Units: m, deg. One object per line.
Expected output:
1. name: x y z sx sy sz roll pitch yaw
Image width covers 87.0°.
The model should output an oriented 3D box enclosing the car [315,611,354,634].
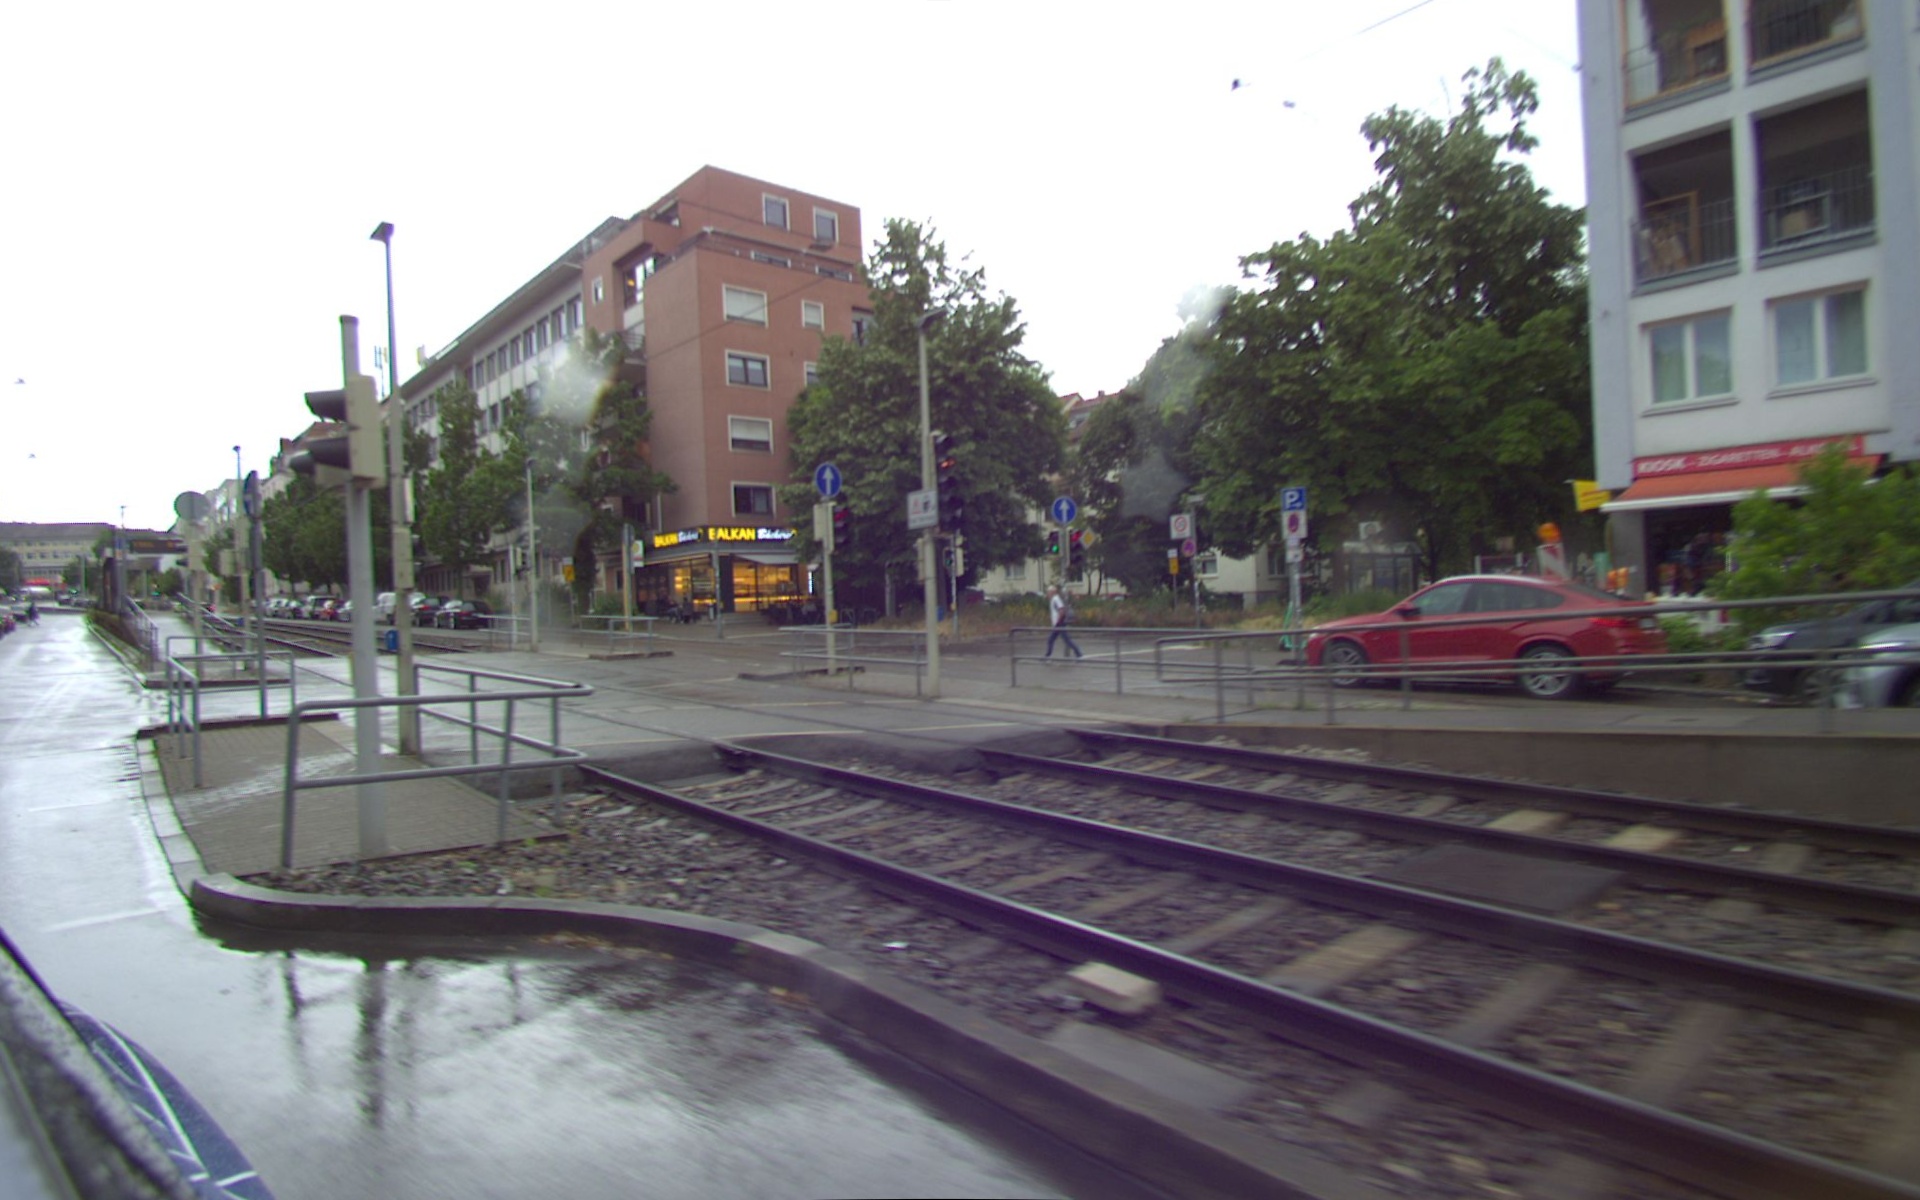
1. car: -44.143 1.569 71.439 1.619 1.550 3.808 -2 0 -43

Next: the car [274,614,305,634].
1. car: -55.347 1.999 83.484 1.618 1.549 4.028 -2 0 -41

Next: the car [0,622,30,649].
1. car: -55.116 2.037 58.634 1.695 1.473 3.450 -2 0 -41

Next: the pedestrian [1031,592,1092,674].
1. pedestrian: 2.216 0.718 22.088 0.985 1.710 0.811 -2 1 40

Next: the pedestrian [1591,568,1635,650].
1. pedestrian: 13.369 0.174 20.718 0.607 1.644 0.576 -2 1 22

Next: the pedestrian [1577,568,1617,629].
1. pedestrian: 15.224 -0.040 24.176 0.553 1.415 0.651 -3 1 -43

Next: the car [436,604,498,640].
1. car: -24.216 1.068 49.635 1.618 1.636 4.377 -2 0 -41

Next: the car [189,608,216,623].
1. car: -80.572 1.660 107.631 1.672 1.473 4.533 -2 0 -44

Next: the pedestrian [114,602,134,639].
1. pedestrian: -35.693 0.884 43.214 0.576 1.569 0.701 -1 0 -44

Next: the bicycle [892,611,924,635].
1. bicycle: -2.048 0.901 39.893 0.335 0.917 1.649 -1 0 -39

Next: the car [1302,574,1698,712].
1. car: 7.357 0.558 14.222 1.704 1.624 4.559 -1 -1 -40

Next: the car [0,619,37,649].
1. car: -50.442 1.794 54.026 1.625 1.473 3.419 -2 0 -41

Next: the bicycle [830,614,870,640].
1. bicycle: -4.163 1.005 38.103 0.474 0.966 1.876 -1 0 -42

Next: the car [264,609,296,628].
1. car: -59.352 1.621 88.346 1.638 1.596 4.342 -2 0 -43

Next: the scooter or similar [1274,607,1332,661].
1. scooter or similar: 7.859 0.759 23.200 0.384 1.200 1.214 -1 0 -40

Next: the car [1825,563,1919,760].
1. car: 9.693 0.438 7.298 1.785 1.590 5.028 -1 -1 -41

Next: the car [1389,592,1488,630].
1. car: 18.619 0.416 39.344 3.937 1.384 2.003 -1 0 -40

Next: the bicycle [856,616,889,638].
1. bicycle: -3.367 1.015 38.676 0.335 0.822 1.649 -1 0 -42

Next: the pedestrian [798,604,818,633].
1. pedestrian: -6.336 0.764 42.256 0.603 1.187 0.674 -2 0 16

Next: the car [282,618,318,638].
1. car: -51.839 2.180 79.464 1.619 1.451 4.735 -2 0 -43

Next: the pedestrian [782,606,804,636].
1. pedestrian: -6.745 0.856 40.923 0.667 1.187 0.609 -1 -1 -36

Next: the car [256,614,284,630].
1. car: -63.321 2.011 92.825 1.693 1.386 4.464 -2 0 -40

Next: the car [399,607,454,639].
1. car: -28.386 1.209 53.806 1.618 1.548 4.377 -2 0 -41

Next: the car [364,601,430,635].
1. car: -32.559 1.045 58.443 5.260 1.858 1.885 -1 0 45

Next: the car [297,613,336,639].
1. car: -48.002 1.896 75.505 1.654 1.831 4.437 -2 0 -43

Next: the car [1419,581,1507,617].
1. car: 33.280 -0.032 67.075 1.880 2.226 4.868 -1 0 -43

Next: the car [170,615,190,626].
1. car: -97.697 2.554 126.681 1.619 1.348 3.739 -2 0 -43

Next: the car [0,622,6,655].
1. car: -45.466 1.811 46.787 1.884 1.473 4.250 -2 0 -42

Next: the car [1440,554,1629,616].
1. car: 26.088 -0.615 46.295 2.385 2.553 7.111 -1 -1 -40

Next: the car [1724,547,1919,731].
1. car: 10.774 0.375 10.480 1.687 1.872 4.324 -1 -1 -44

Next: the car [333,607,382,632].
1. car: -38.816 1.260 65.181 1.672 1.473 4.533 -2 0 -44

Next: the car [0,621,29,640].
1. car: -73.738 2.355 78.926 1.604 1.361 3.833 -2 0 -43

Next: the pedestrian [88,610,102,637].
1. pedestrian: -59.385 1.604 69.507 0.883 1.775 0.644 -1 0 44
